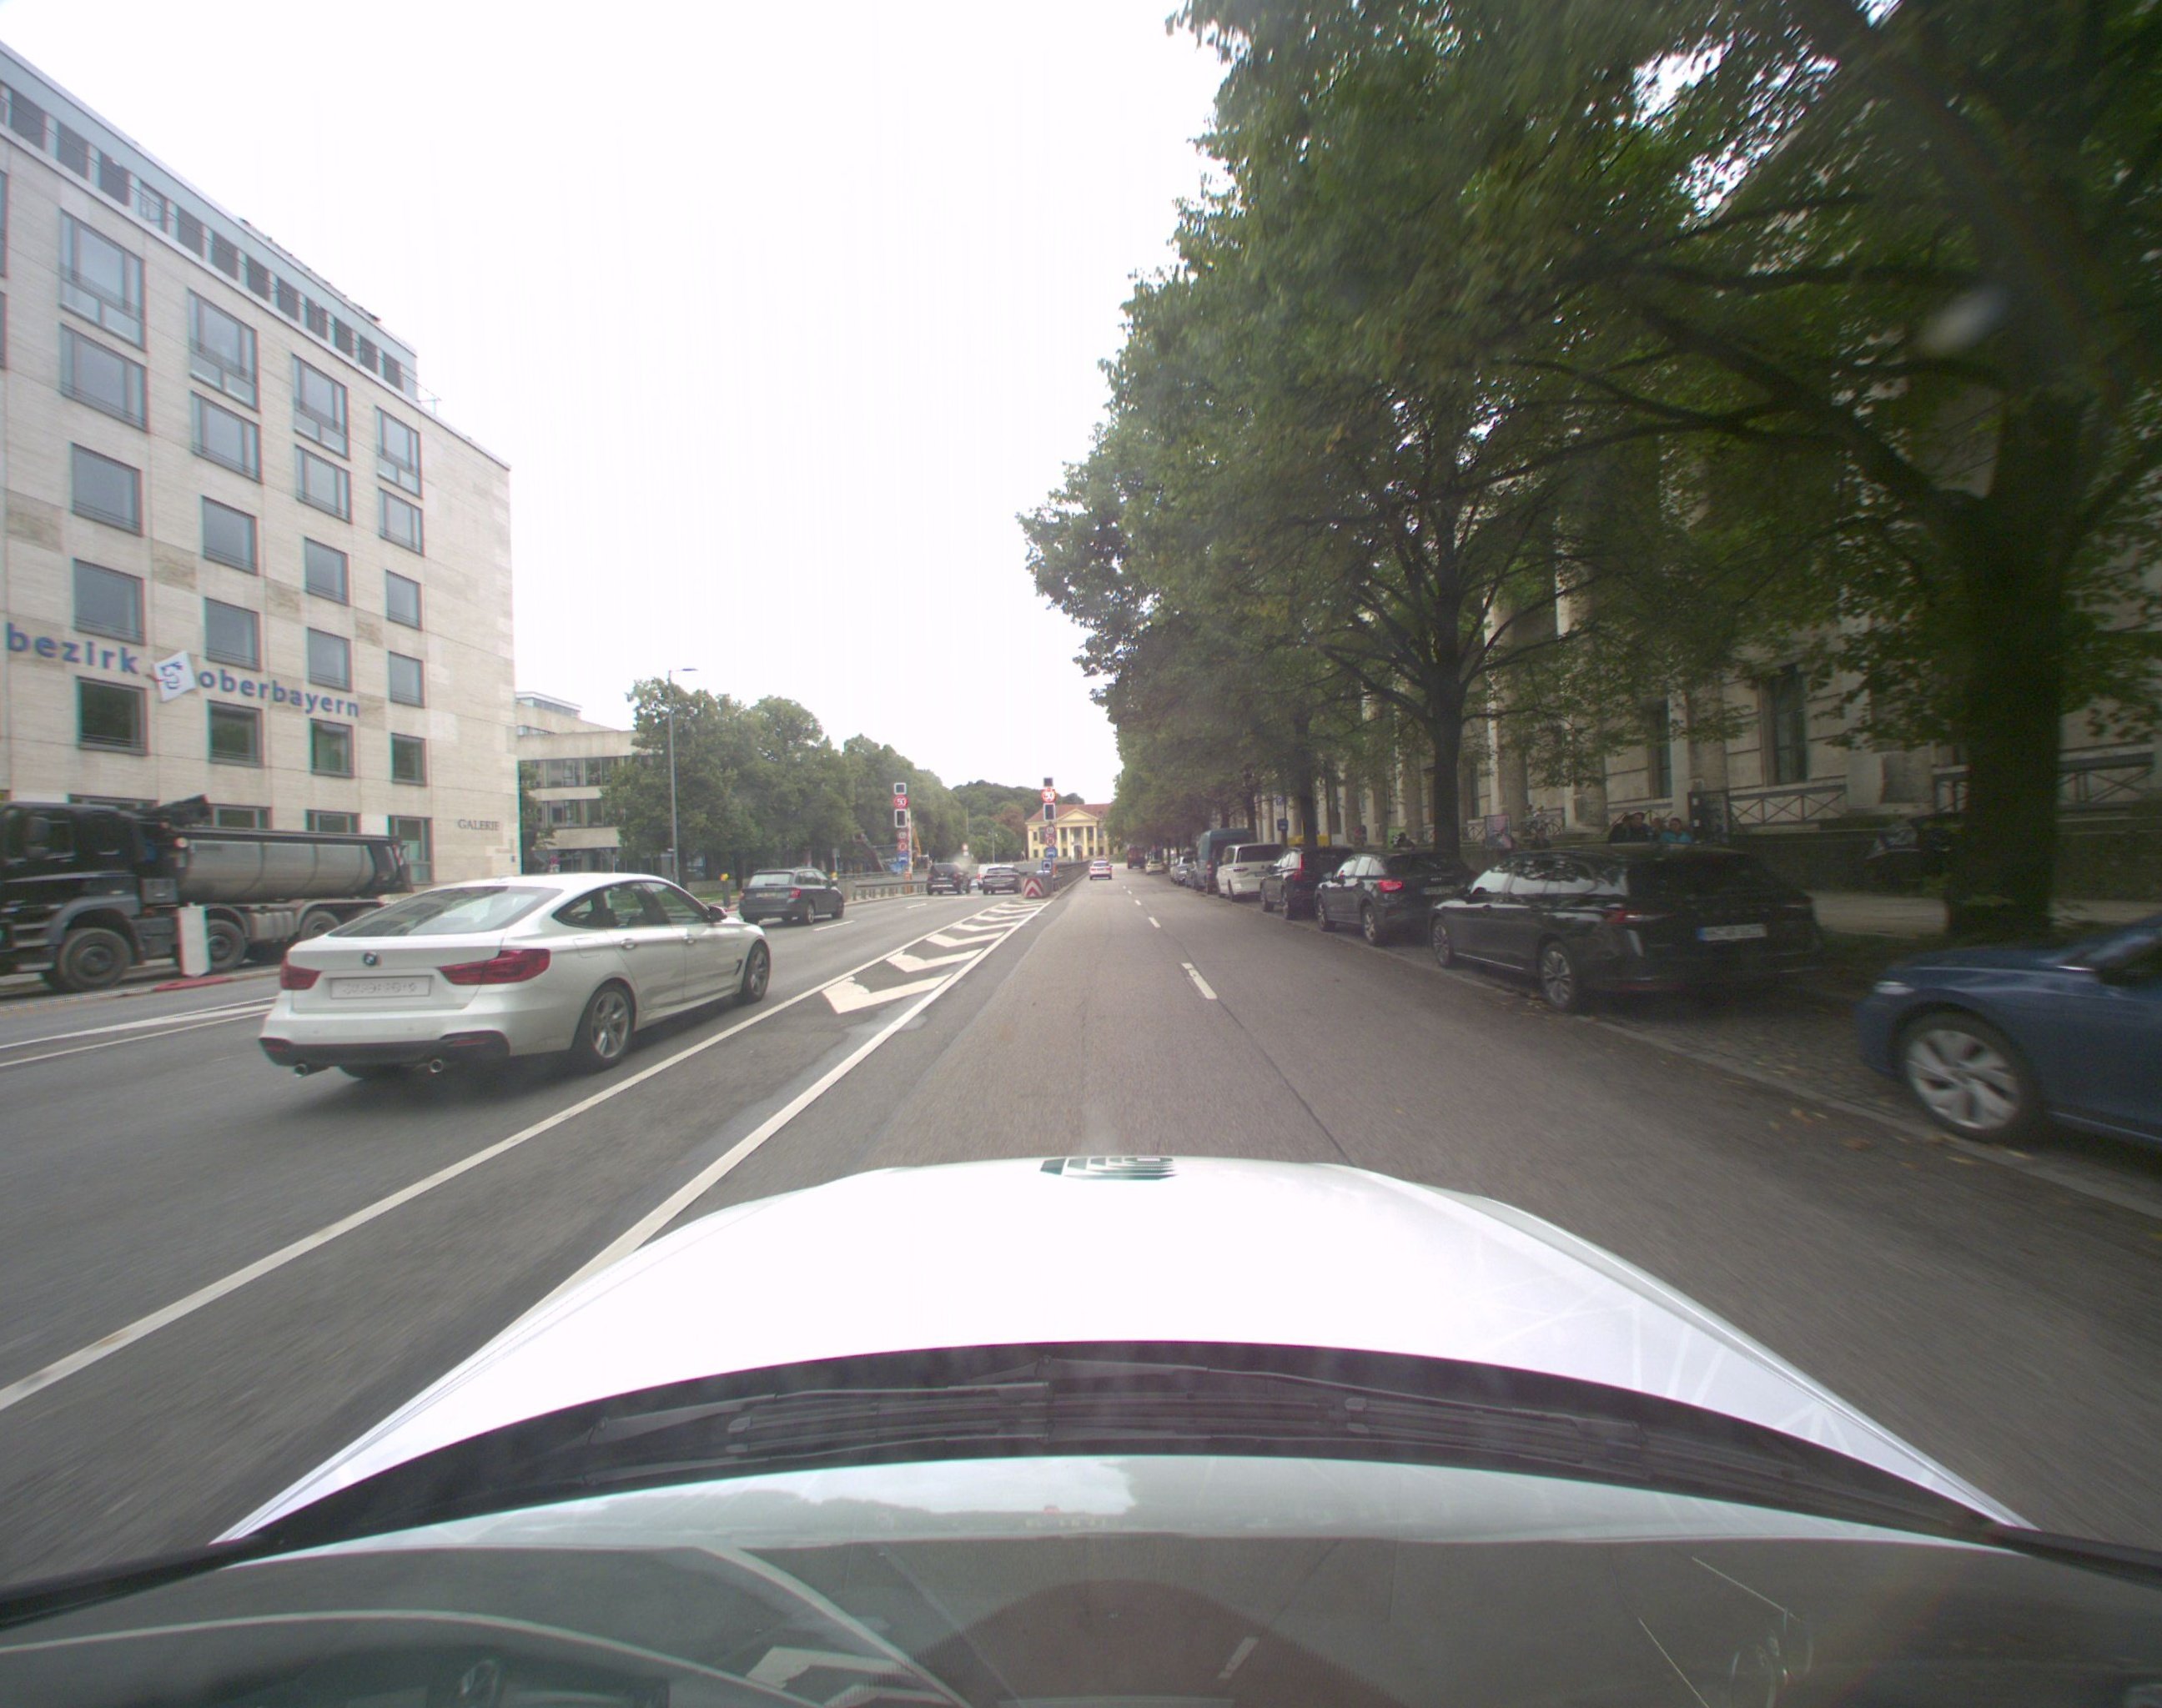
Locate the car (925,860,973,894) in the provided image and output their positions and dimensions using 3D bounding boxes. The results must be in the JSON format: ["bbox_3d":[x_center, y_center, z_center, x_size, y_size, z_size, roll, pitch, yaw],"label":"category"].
[{"bbox_3d":[-6.978,1.181,43.473,1.716,1.636,4.205,-2,-1,1],"label":"car"}]

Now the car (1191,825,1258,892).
[{"bbox_3d":[6.038,0.190,34.804,1.987,2.643,4.877,-1,0,0],"label":"car"}]

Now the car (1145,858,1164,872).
[{"bbox_3d":[7.307,1.071,81.414,1.717,1.324,4.030,-3,0,2],"label":"car"}]

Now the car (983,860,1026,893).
[{"bbox_3d":[-3.869,1.132,41.918,1.704,1.552,4.001,-1,0,1],"label":"car"}]

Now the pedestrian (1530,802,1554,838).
[{"bbox_3d":[18.379,-1.353,32.467,0.564,1.373,0.646,-1,-1,2],"label":"pedestrian"}]

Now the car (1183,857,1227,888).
[{"bbox_3d":[6.163,0.901,40.913,1.717,1.364,4.030,-3,0,2],"label":"car"}]

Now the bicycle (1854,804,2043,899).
[{"bbox_3d":[14.335,-0.030,13.583,0.696,1.415,2.300,-3,0,2],"label":"bicycle"}]

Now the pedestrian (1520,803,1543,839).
[{"bbox_3d":[17.778,-1.286,32.142,0.564,1.373,0.646,-1,-1,2],"label":"pedestrian"}]

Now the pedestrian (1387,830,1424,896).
[{"bbox_3d":[9.617,0.272,24.173,0.776,1.910,0.771,-1,-1,2],"label":"pedestrian"}]

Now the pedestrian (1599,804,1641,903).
[{"bbox_3d":[10.649,-0.012,16.092,0.524,1.910,0.655,-1,-1,21],"label":"pedestrian"}]

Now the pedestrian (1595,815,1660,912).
[{"bbox_3d":[11.085,0.196,16.532,0.776,1.910,0.771,-1,-1,2],"label":"pedestrian"}]

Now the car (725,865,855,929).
[{"bbox_3d":[-7.603,1.070,21.748,1.786,1.447,4.276,-2,-1,2],"label":"car"}]

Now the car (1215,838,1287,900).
[{"bbox_3d":[5.708,0.495,27.788,1.717,1.867,4.030,-3,0,2],"label":"car"}]

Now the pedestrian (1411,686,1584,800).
[{"bbox_3d":[9.294,-2.393,18.608,1.986,2.014,4.002,-1,0,2],"label":"pedestrian"}]

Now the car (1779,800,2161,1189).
[{"bbox_3d":[5.100,0.515,2.699,1.717,1.549,4.588,-3,0,2],"label":"car"}]

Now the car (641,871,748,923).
[{"bbox_3d":[-13.936,1.490,29.630,1.988,1.596,3.997,-3,0,-1],"label":"car"}]

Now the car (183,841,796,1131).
[{"bbox_3d":[-4.390,0.806,7.346,1.787,1.636,5.026,-2,-1,0],"label":"car"}]

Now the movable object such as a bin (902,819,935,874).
[{"bbox_3d":[-19.780,-0.850,99.435,2.689,6.511,5.178,-1,0,2],"label":"movable object such as a bin"}]

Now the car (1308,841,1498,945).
[{"bbox_3d":[5.365,0.588,14.180,1.815,1.464,4.030,-3,0,2],"label":"car"}]

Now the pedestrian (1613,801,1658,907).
[{"bbox_3d":[10.213,0.007,15.013,0.524,1.910,0.655,-1,-1,21],"label":"pedestrian"}]

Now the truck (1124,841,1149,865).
[{"bbox_3d":[8.268,-0.171,122.319,3.313,3.367,8.666,-1,0,2],"label":"truck"}]

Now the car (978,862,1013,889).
[{"bbox_3d":[-6.397,1.569,61.297,1.891,1.847,4.957,-2,-1,1],"label":"car"}]

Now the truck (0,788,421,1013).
[{"bbox_3d":[-17.930,0.738,16.350,2.836,3.357,8.748,-1,0,-5],"label":"truck"}]

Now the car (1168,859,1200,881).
[{"bbox_3d":[6.587,0.995,52.381,1.717,1.324,4.030,-3,0,2],"label":"car"}]

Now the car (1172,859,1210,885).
[{"bbox_3d":[6.245,0.996,46.501,1.717,1.324,4.030,-3,0,2],"label":"car"}]

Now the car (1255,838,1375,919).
[{"bbox_3d":[5.541,0.533,19.883,1.717,1.665,4.592,-3,0,2],"label":"car"}]

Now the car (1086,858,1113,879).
[{"bbox_3d":[1.463,1.146,65.536,1.775,1.644,3.995,-1,0,-3],"label":"car"}]

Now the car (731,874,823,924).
[{"bbox_3d":[-11.362,1.655,30.767,1.988,1.596,3.997,-3,0,-1],"label":"car"}]

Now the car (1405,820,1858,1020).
[{"bbox_3d":[5.201,0.528,8.693,1.717,1.464,4.778,-3,0,2],"label":"car"}]
